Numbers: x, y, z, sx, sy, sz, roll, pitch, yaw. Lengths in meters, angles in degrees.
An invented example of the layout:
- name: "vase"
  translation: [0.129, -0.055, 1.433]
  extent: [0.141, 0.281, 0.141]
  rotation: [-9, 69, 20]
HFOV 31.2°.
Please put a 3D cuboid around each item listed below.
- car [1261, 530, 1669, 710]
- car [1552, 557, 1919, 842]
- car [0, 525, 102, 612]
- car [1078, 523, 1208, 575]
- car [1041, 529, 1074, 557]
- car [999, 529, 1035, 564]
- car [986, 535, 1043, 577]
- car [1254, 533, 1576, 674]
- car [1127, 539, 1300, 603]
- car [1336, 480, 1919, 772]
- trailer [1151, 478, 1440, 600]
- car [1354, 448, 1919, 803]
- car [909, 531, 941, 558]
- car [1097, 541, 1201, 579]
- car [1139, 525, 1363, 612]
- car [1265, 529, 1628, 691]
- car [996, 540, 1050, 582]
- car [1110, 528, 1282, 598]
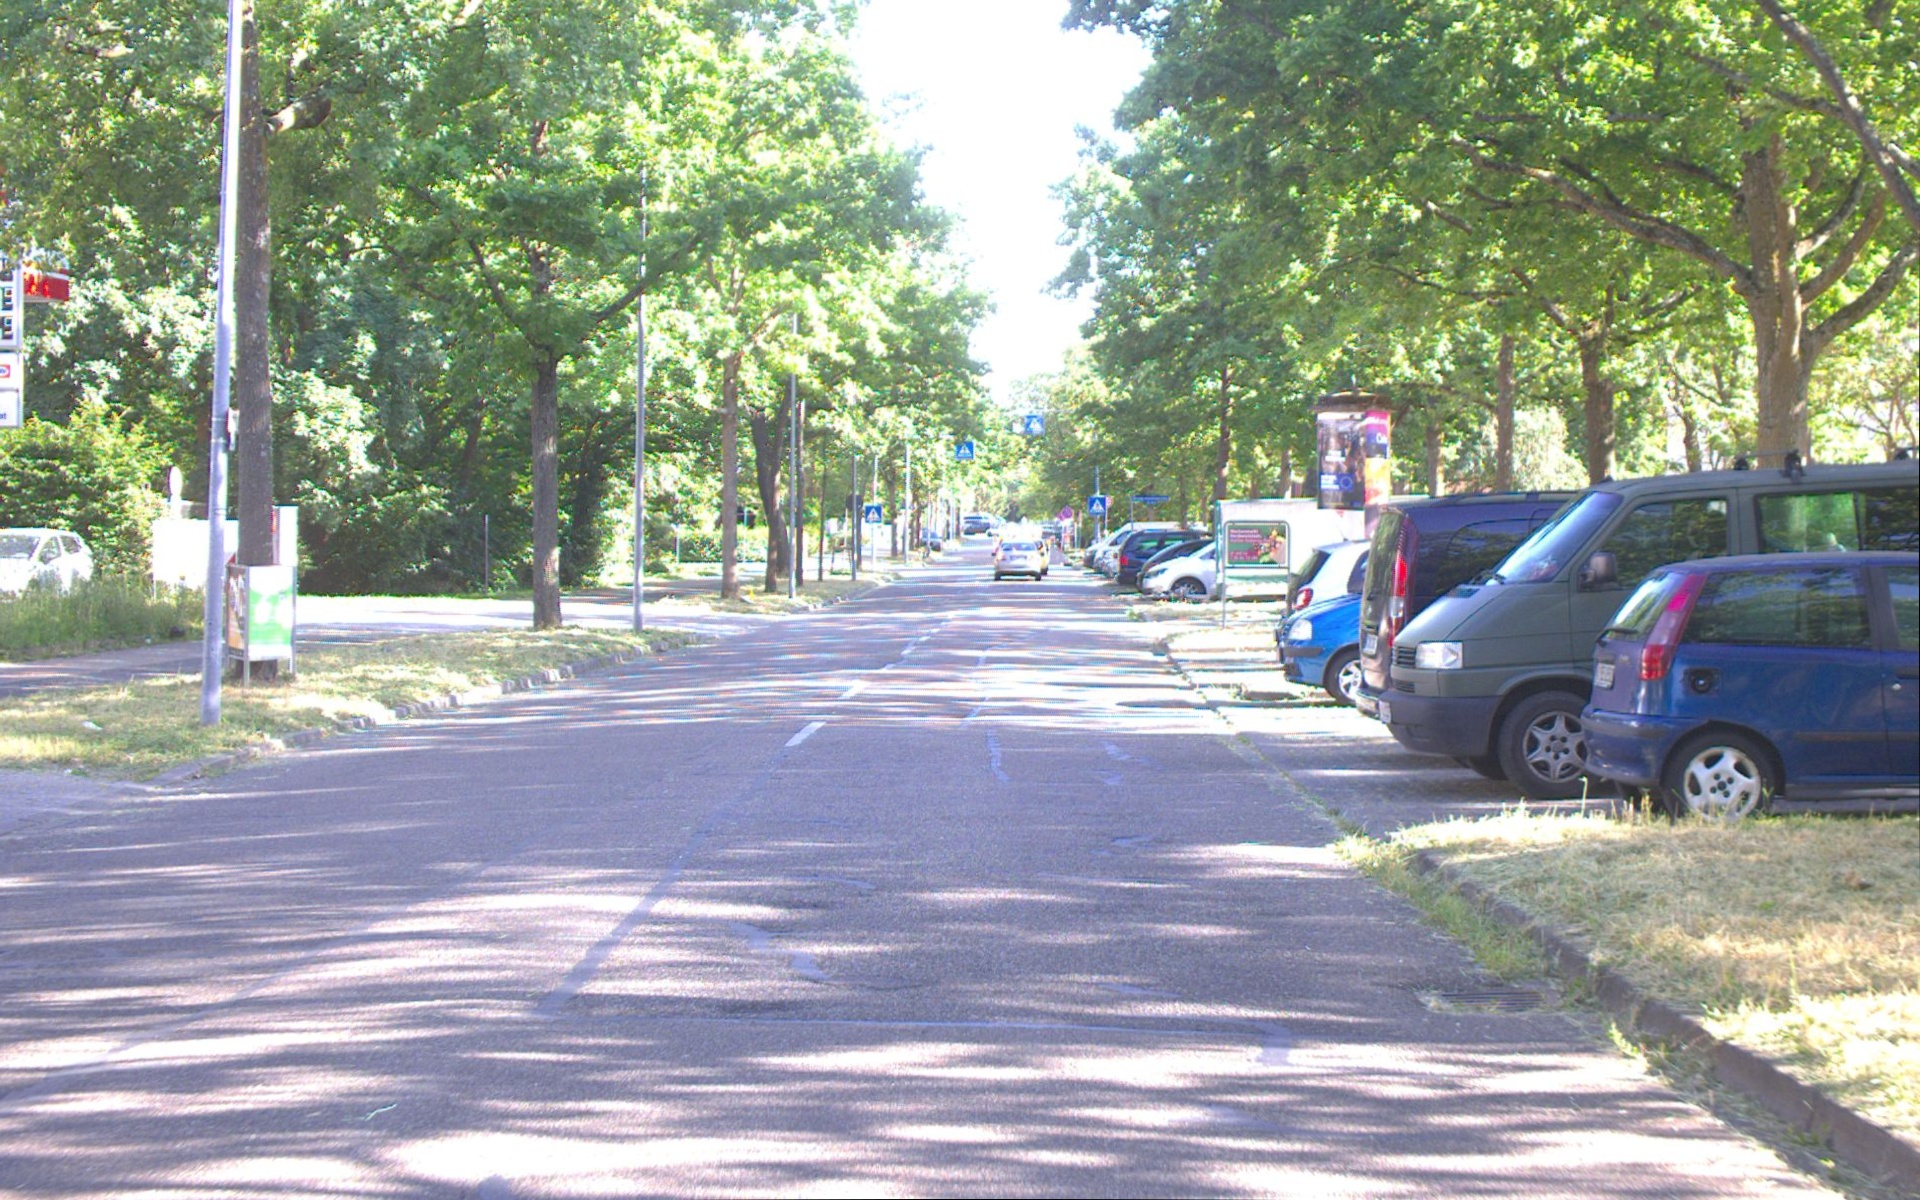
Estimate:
- name: "car"
  translation: [4.565, 0.170, 31.430]
  extent: [3.521, 1.527, 1.665]
  rotation: [-1, 1, 3]
- name: "car"
  translation: [5.255, 0.476, 18.070]
  extent: [3.988, 1.398, 1.739]
  rotation: [-1, 1, 1]
- name: "car"
  translation: [-16.263, -0.558, 59.281]
  extent: [1.547, 1.417, 3.485]
  rotation: [2, 1, 9]
- name: "car"
  translation: [7.473, -2.076, 140.379]
  extent: [5.187, 2.098, 2.082]
  rotation: [0, 1, 0]
- name: "car"
  translation: [6.127, -3.594, 217.212]
  extent: [1.993, 1.711, 4.000]
  rotation: [1, 1, 1]
- name: "car"
  translation: [3.258, -3.050, 196.423]
  extent: [1.993, 1.926, 4.000]
  rotation: [1, 1, 1]
- name: "car"
  translation: [1.962, -1.593, 124.734]
  extent: [1.993, 1.479, 4.000]
  rotation: [0, 1, 0]
- name: "car"
  translation: [5.386, 0.029, 41.017]
  extent: [3.583, 1.571, 1.857]
  rotation: [-1, 1, 1]
- name: "car"
  translation: [6.325, -0.742, 86.229]
  extent: [4.245, 1.514, 2.078]
  rotation: [-1, 1, 3]
- name: "car"
  translation: [4.702, 0.155, 23.483]
  extent: [4.008, 1.831, 1.799]
  rotation: [-1, 1, -1]
- name: "trailer"
  translation: [6.843, -1.247, 70.557]
  extent: [5.775, 2.310, 1.686]
  rotation: [-2, 1, 4]
- name: "car"
  translation: [4.913, 0.122, 20.924]
  extent: [4.803, 2.025, 1.944]
  rotation: [-1, 1, 1]
- name: "car"
  translation: [-2.279, -3.635, 223.566]
  extent: [1.993, 1.711, 4.000]
  rotation: [1, 1, 1]
- name: "car"
  translation: [7.276, -1.541, 132.613]
  extent: [3.987, 1.428, 1.901]
  rotation: [0, 1, 3]
- name: "car"
  translation: [6.168, -0.678, 73.371]
  extent: [4.642, 1.716, 1.987]
  rotation: [-1, 1, 2]
- name: "car"
  translation: [5.048, 0.091, 36.029]
  extent: [3.584, 1.571, 1.786]
  rotation: [-1, 1, 3]
- name: "car"
  translation: [2.535, -1.566, 138.628]
  extent: [1.993, 1.650, 4.000]
  rotation: [0, 1, -2]
- name: "car"
  translation: [6.367, -1.016, 92.999]
  extent: [4.530, 1.795, 1.936]
  rotation: [-1, 1, 2]
